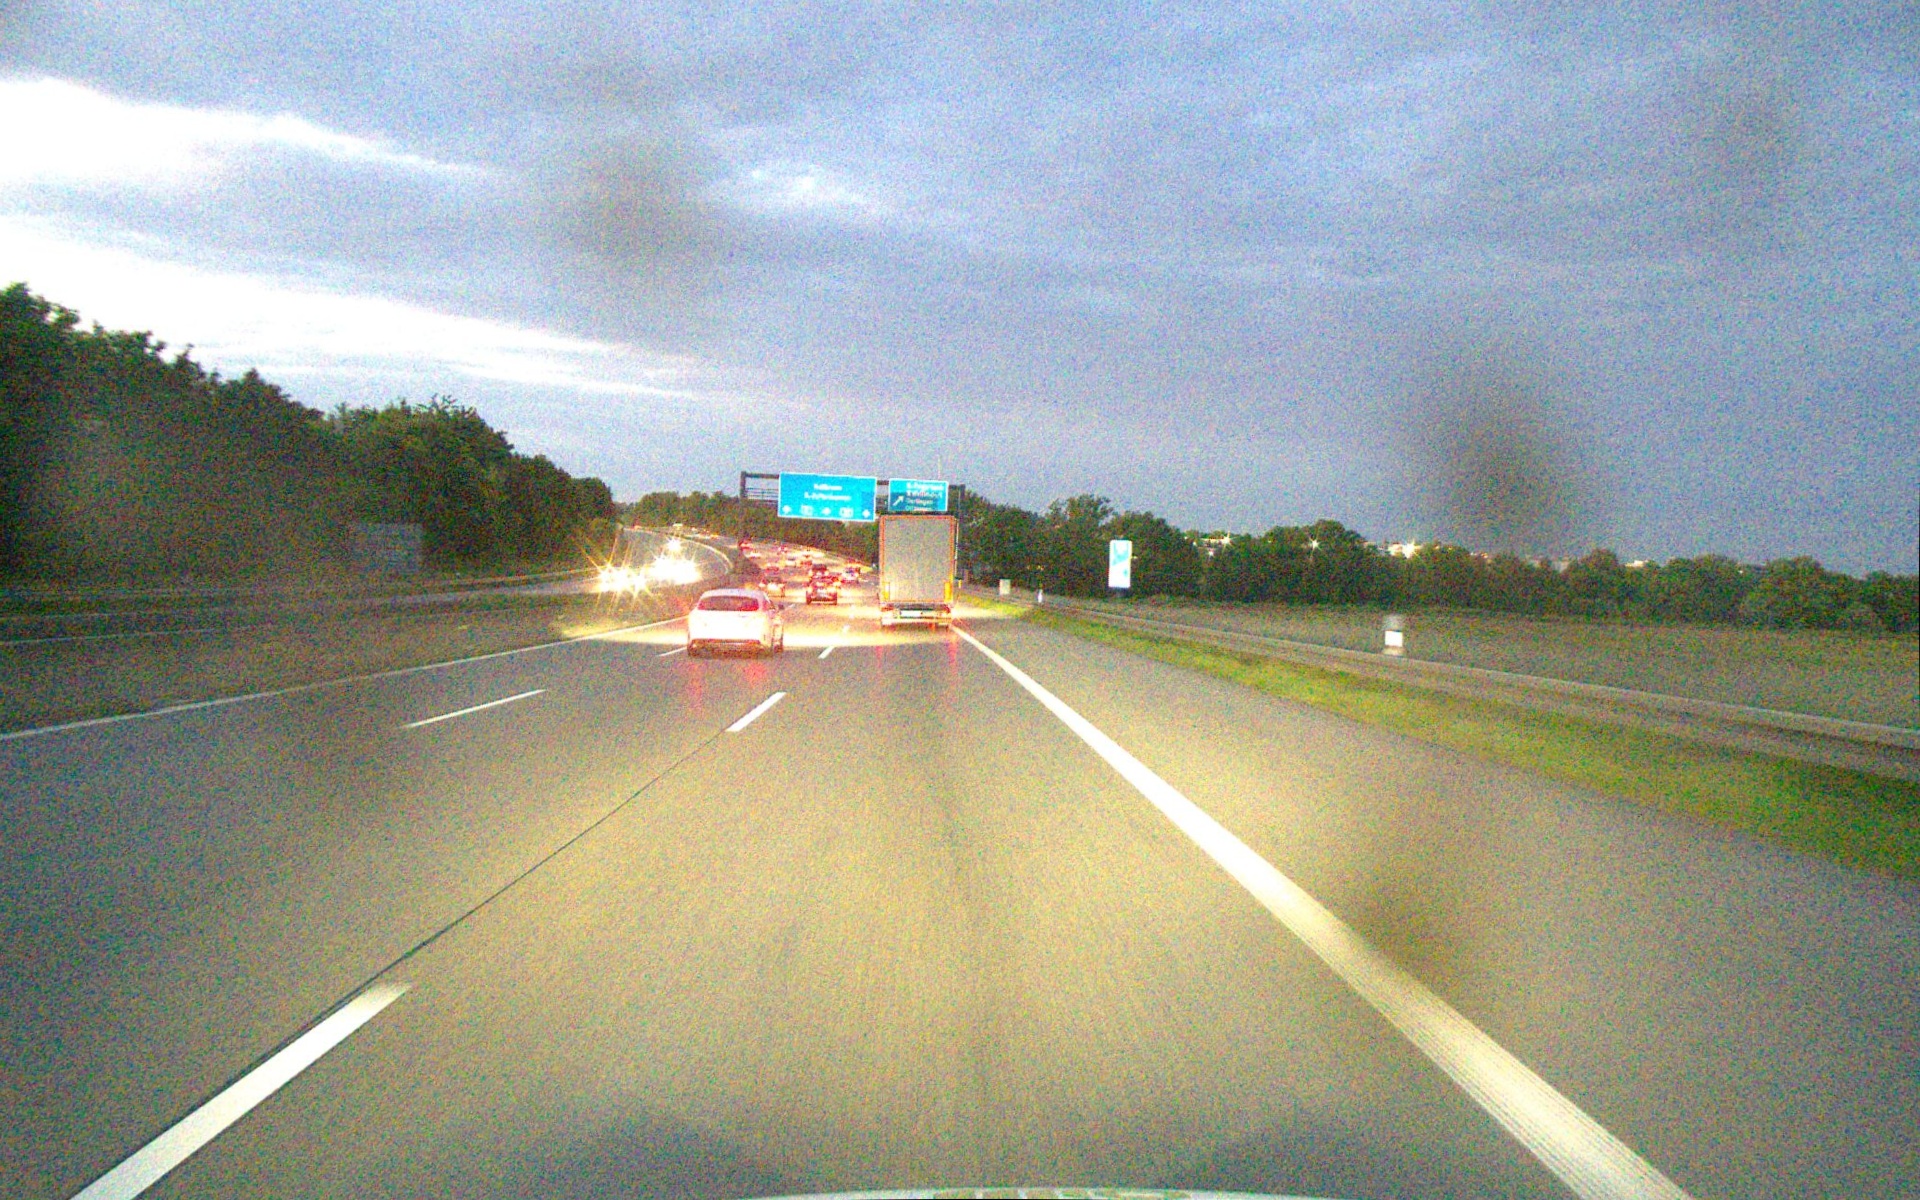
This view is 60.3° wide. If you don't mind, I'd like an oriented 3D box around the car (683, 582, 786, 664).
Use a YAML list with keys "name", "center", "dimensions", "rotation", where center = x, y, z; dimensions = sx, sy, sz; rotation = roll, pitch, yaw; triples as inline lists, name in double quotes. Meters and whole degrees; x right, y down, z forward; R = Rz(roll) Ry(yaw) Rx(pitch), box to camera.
- name: "car"
  center: [-4.910, 0.487, 36.578]
  dimensions: [1.869, 1.642, 4.800]
  rotation: [2, 0, -3]

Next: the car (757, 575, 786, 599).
- name: "car"
  center: [-13.392, -0.877, 117.452]
  dimensions: [1.726, 1.602, 4.574]
  rotation: [2, 0, -3]

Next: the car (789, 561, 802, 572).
- name: "car"
  center: [-25.803, -5.222, 259.420]
  dimensions: [1.955, 1.650, 3.995]
  rotation: [2, 0, -6]

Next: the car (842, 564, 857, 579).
- name: "car"
  center: [-15.144, -3.909, 226.423]
  dimensions: [1.954, 2.013, 3.996]
  rotation: [2, 0, -5]

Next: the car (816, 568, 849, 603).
- name: "car"
  center: [-9.047, -0.995, 116.950]
  dimensions: [1.957, 2.422, 3.991]
  rotation: [2, 0, -10]

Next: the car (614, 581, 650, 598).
- name: "car"
  center: [-25.970, -0.842, 131.238]
  dimensions: [2.018, 1.247, 5.231]
  rotation: [2, 0, -3]

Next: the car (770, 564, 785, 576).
- name: "car"
  center: [-26.548, -4.328, 240.444]
  dimensions: [1.954, 1.650, 3.997]
  rotation: [2, 0, -3]

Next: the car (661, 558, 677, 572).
- name: "car"
  center: [-42.529, -5.130, 241.753]
  dimensions: [1.955, 1.926, 4.673]
  rotation: [2, 0, -6]

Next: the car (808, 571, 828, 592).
- name: "car"
  center: [-14.505, -1.921, 169.480]
  dimensions: [1.954, 2.049, 3.996]
  rotation: [2, 0, -4]

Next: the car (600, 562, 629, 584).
- name: "car"
  center: [-32.595, -2.487, 156.246]
  dimensions: [1.954, 1.926, 5.053]
  rotation: [2, 0, -4]

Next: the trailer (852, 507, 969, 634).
- name: "trailer"
  center: [-2.126, -1.163, 62.421]
  dimensions: [3.481, 4.188, 15.048]
  rotation: [0, 1, -5]

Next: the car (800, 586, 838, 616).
- name: "car"
  center: [-8.283, 0.062, 97.542]
  dimensions: [2.024, 1.715, 4.573]
  rotation: [2, 0, -3]

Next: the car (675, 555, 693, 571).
- name: "car"
  center: [-36.515, -4.910, 218.998]
  dimensions: [1.838, 1.926, 5.053]
  rotation: [2, 0, -4]

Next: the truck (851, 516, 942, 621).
- name: "truck"
  center: [-2.744, -1.324, 69.065]
  dimensions: [3.481, 4.162, 6.145]
  rotation: [0, 1, -5]

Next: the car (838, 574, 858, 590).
- name: "car"
  center: [-11.801, -1.850, 174.139]
  dimensions: [1.954, 1.561, 3.997]
  rotation: [2, 0, -3]
